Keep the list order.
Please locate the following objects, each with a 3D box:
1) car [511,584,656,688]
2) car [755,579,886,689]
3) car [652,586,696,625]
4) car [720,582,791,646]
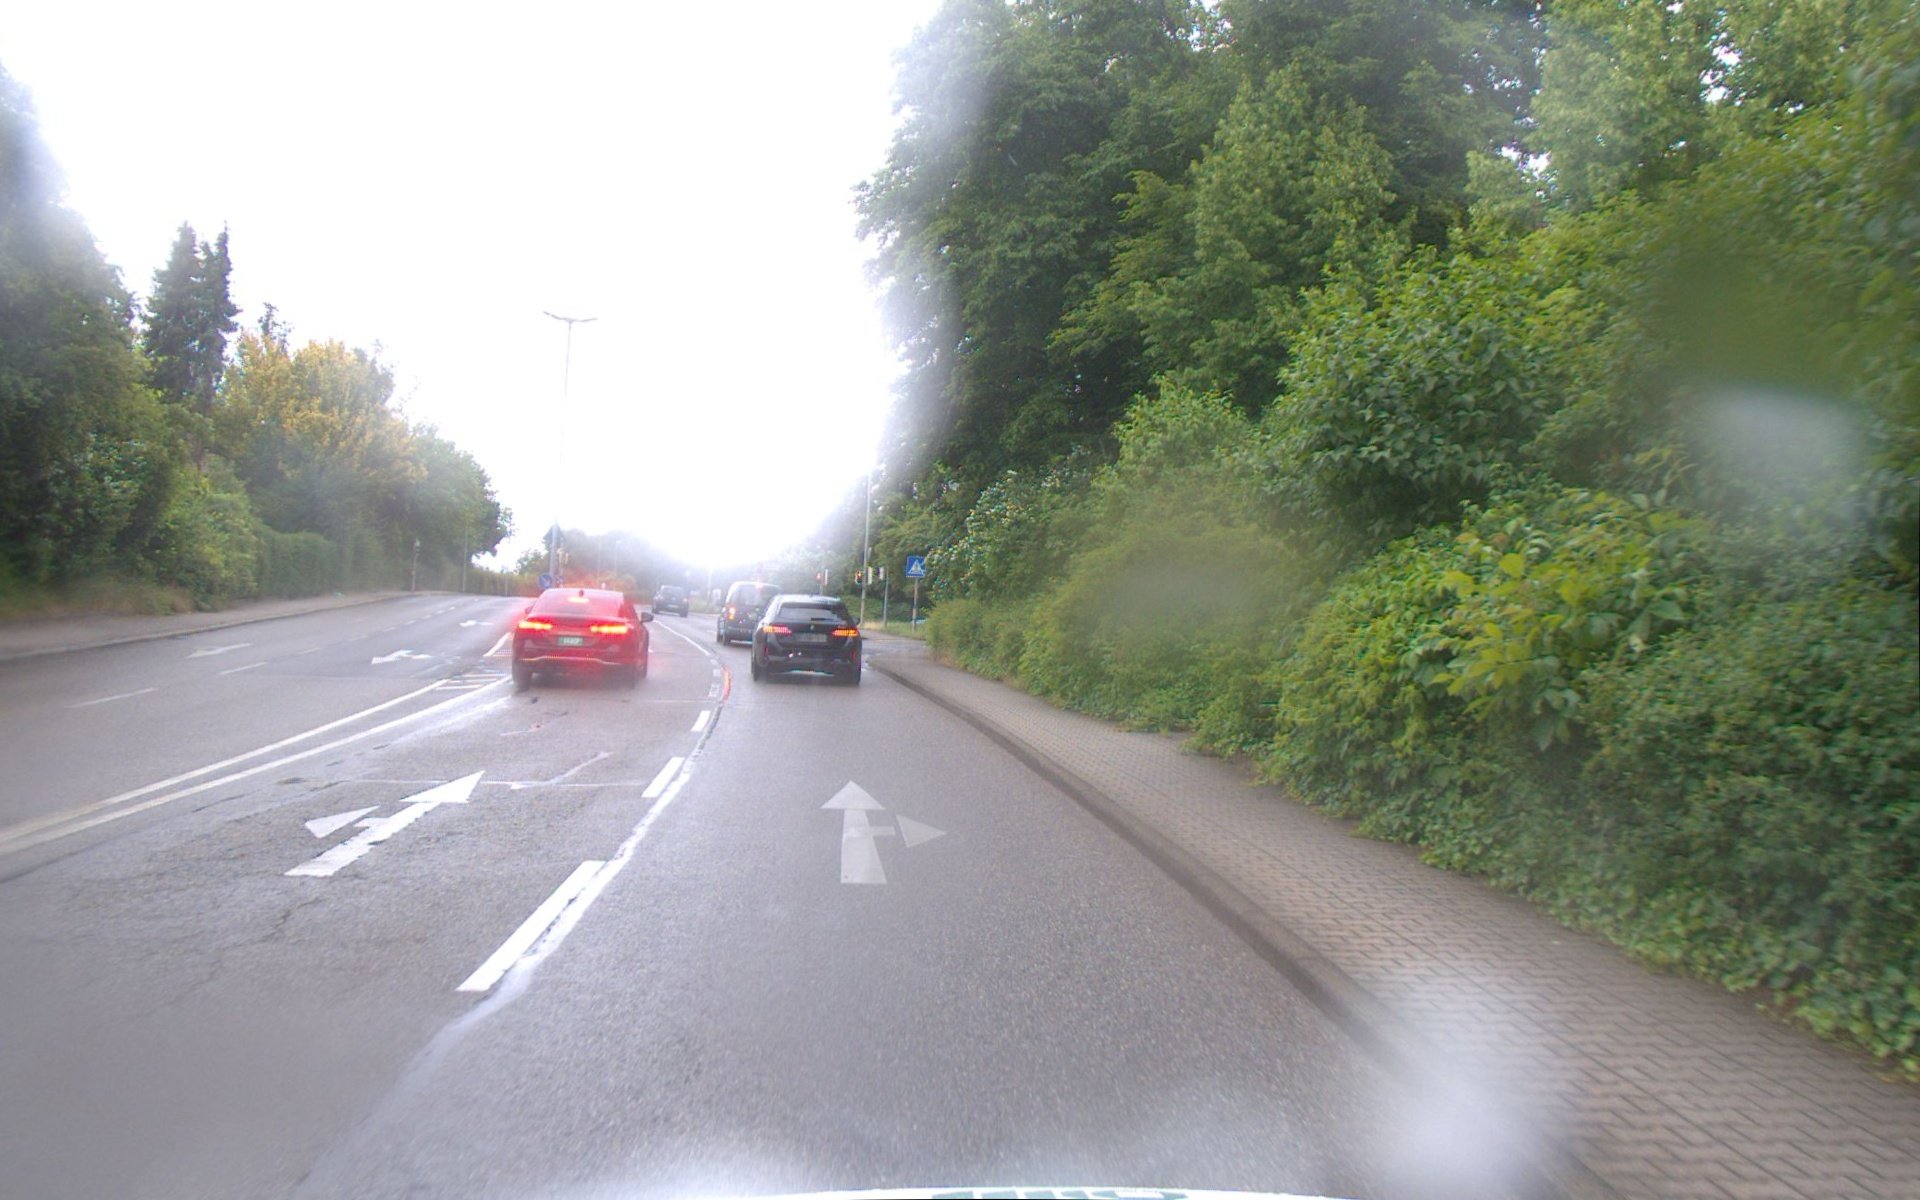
[{"bbox_3d":[-5.873,0.505,26.273,1.870,1.422,4.848,1,1,-9],"label":"car"},{"bbox_3d":[-2.602,0.543,29.870,1.957,1.613,4.654,3,2,-9],"label":"car"},{"bbox_3d":[-14.708,0.306,85.063,1.820,1.691,3.983,3,-4,-15],"label":"car"},{"bbox_3d":[-6.018,0.427,48.497,1.956,1.779,3.993,1,-1,-8],"label":"car"}]
